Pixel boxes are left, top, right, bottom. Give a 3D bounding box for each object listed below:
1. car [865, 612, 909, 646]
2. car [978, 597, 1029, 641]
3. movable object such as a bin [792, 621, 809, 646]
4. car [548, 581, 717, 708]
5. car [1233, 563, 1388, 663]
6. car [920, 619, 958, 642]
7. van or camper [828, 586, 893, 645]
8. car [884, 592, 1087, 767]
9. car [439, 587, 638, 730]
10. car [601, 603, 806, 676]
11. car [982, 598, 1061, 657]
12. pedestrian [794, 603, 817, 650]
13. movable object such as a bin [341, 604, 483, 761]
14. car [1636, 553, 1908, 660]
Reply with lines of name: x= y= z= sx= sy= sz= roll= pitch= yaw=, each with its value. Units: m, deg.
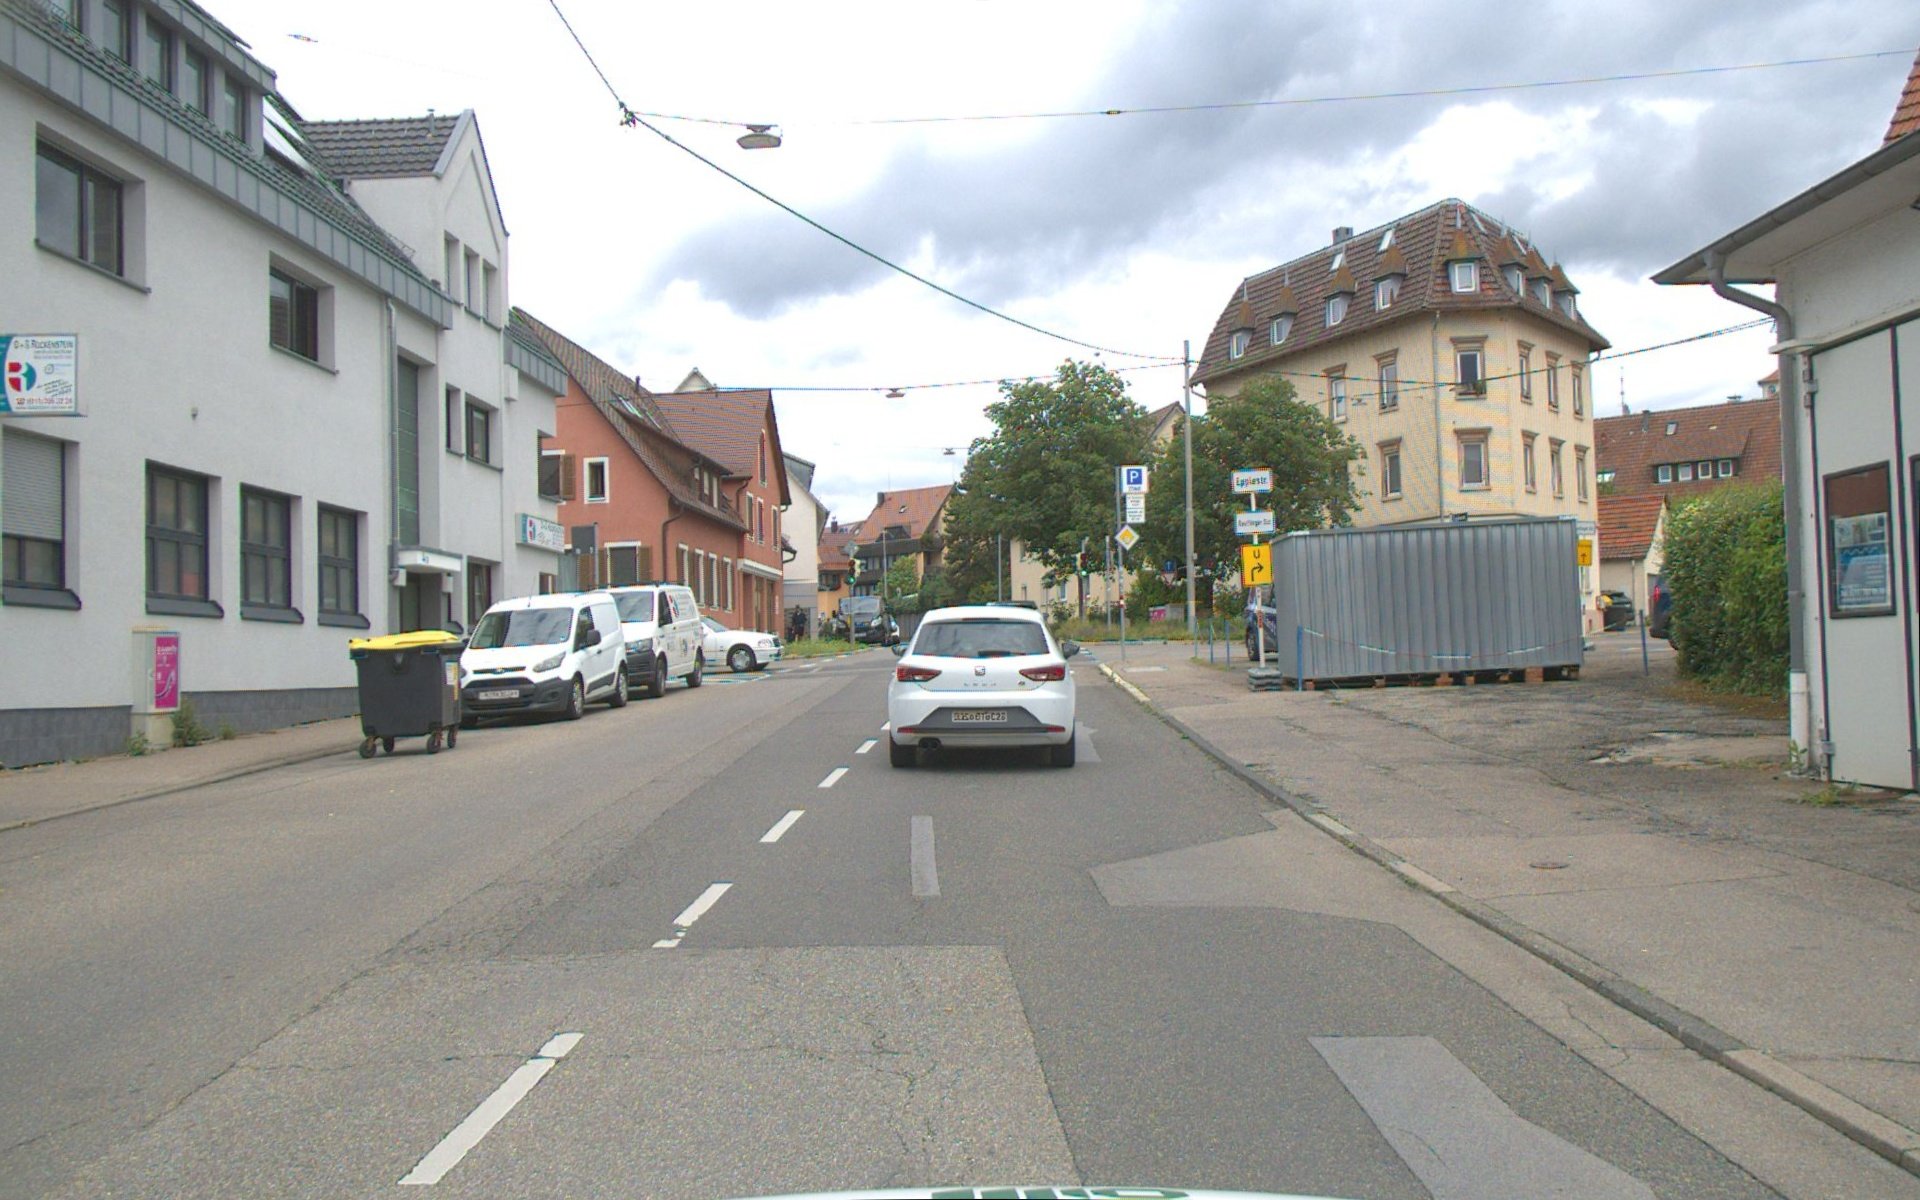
car: x=-3.768 y=1.506 z=84.553 sx=1.959 sy=1.662 sz=4.851 roll=0 pitch=-1 yaw=-6
car: x=1.517 y=0.707 z=58.769 sx=1.722 sy=1.477 sz=4.000 roll=-1 pitch=-2 yaw=1
movable object such as a bin: x=-7.043 y=1.478 z=73.072 sx=0.652 sy=1.036 sz=0.795 roll=-2 pitch=0 yaw=-2
car: x=-5.883 y=0.735 z=30.311 sx=1.774 sy=2.040 sz=4.765 roll=-3 pitch=0 yaw=4
car: x=6.878 y=0.241 z=32.947 sx=1.712 sy=1.770 sz=4.567 roll=-3 pitch=0 yaw=-5
car: x=-1.404 y=2.036 z=110.003 sx=1.728 sy=1.477 sz=3.986 roll=1 pitch=-2 yaw=-13
van or camper: x=-3.860 y=0.666 z=64.779 sx=2.031 sy=2.041 sz=4.857 roll=-3 pitch=-2 yaw=1
car: x=0.306 y=0.702 z=16.313 sx=1.722 sy=1.477 sz=4.001 roll=-1 pitch=0 yaw=2
car: x=-6.202 y=0.799 z=24.835 sx=1.698 sy=1.863 sz=4.298 roll=-3 pitch=0 yaw=1
car: x=-6.132 y=0.926 z=39.839 sx=4.458 sy=1.470 sz=2.001 roll=-3 pitch=0 yaw=5
car: x=1.589 y=0.759 z=44.285 sx=1.723 sy=1.477 sz=3.997 roll=-1 pitch=-2 yaw=-3
pedestrian: x=-6.135 y=1.044 z=65.663 sx=0.784 sy=1.816 sz=0.893 roll=-1 pitch=-1 yaw=1
movable object such as a bin: x=-6.206 y=0.901 z=18.842 sx=1.118 sy=1.661 sz=1.561 roll=-3 pitch=0 yaw=-5
car: x=14.265 y=0.118 z=29.233 sx=1.847 sy=1.758 sz=3.953 roll=1 pitch=0 yaw=-34
